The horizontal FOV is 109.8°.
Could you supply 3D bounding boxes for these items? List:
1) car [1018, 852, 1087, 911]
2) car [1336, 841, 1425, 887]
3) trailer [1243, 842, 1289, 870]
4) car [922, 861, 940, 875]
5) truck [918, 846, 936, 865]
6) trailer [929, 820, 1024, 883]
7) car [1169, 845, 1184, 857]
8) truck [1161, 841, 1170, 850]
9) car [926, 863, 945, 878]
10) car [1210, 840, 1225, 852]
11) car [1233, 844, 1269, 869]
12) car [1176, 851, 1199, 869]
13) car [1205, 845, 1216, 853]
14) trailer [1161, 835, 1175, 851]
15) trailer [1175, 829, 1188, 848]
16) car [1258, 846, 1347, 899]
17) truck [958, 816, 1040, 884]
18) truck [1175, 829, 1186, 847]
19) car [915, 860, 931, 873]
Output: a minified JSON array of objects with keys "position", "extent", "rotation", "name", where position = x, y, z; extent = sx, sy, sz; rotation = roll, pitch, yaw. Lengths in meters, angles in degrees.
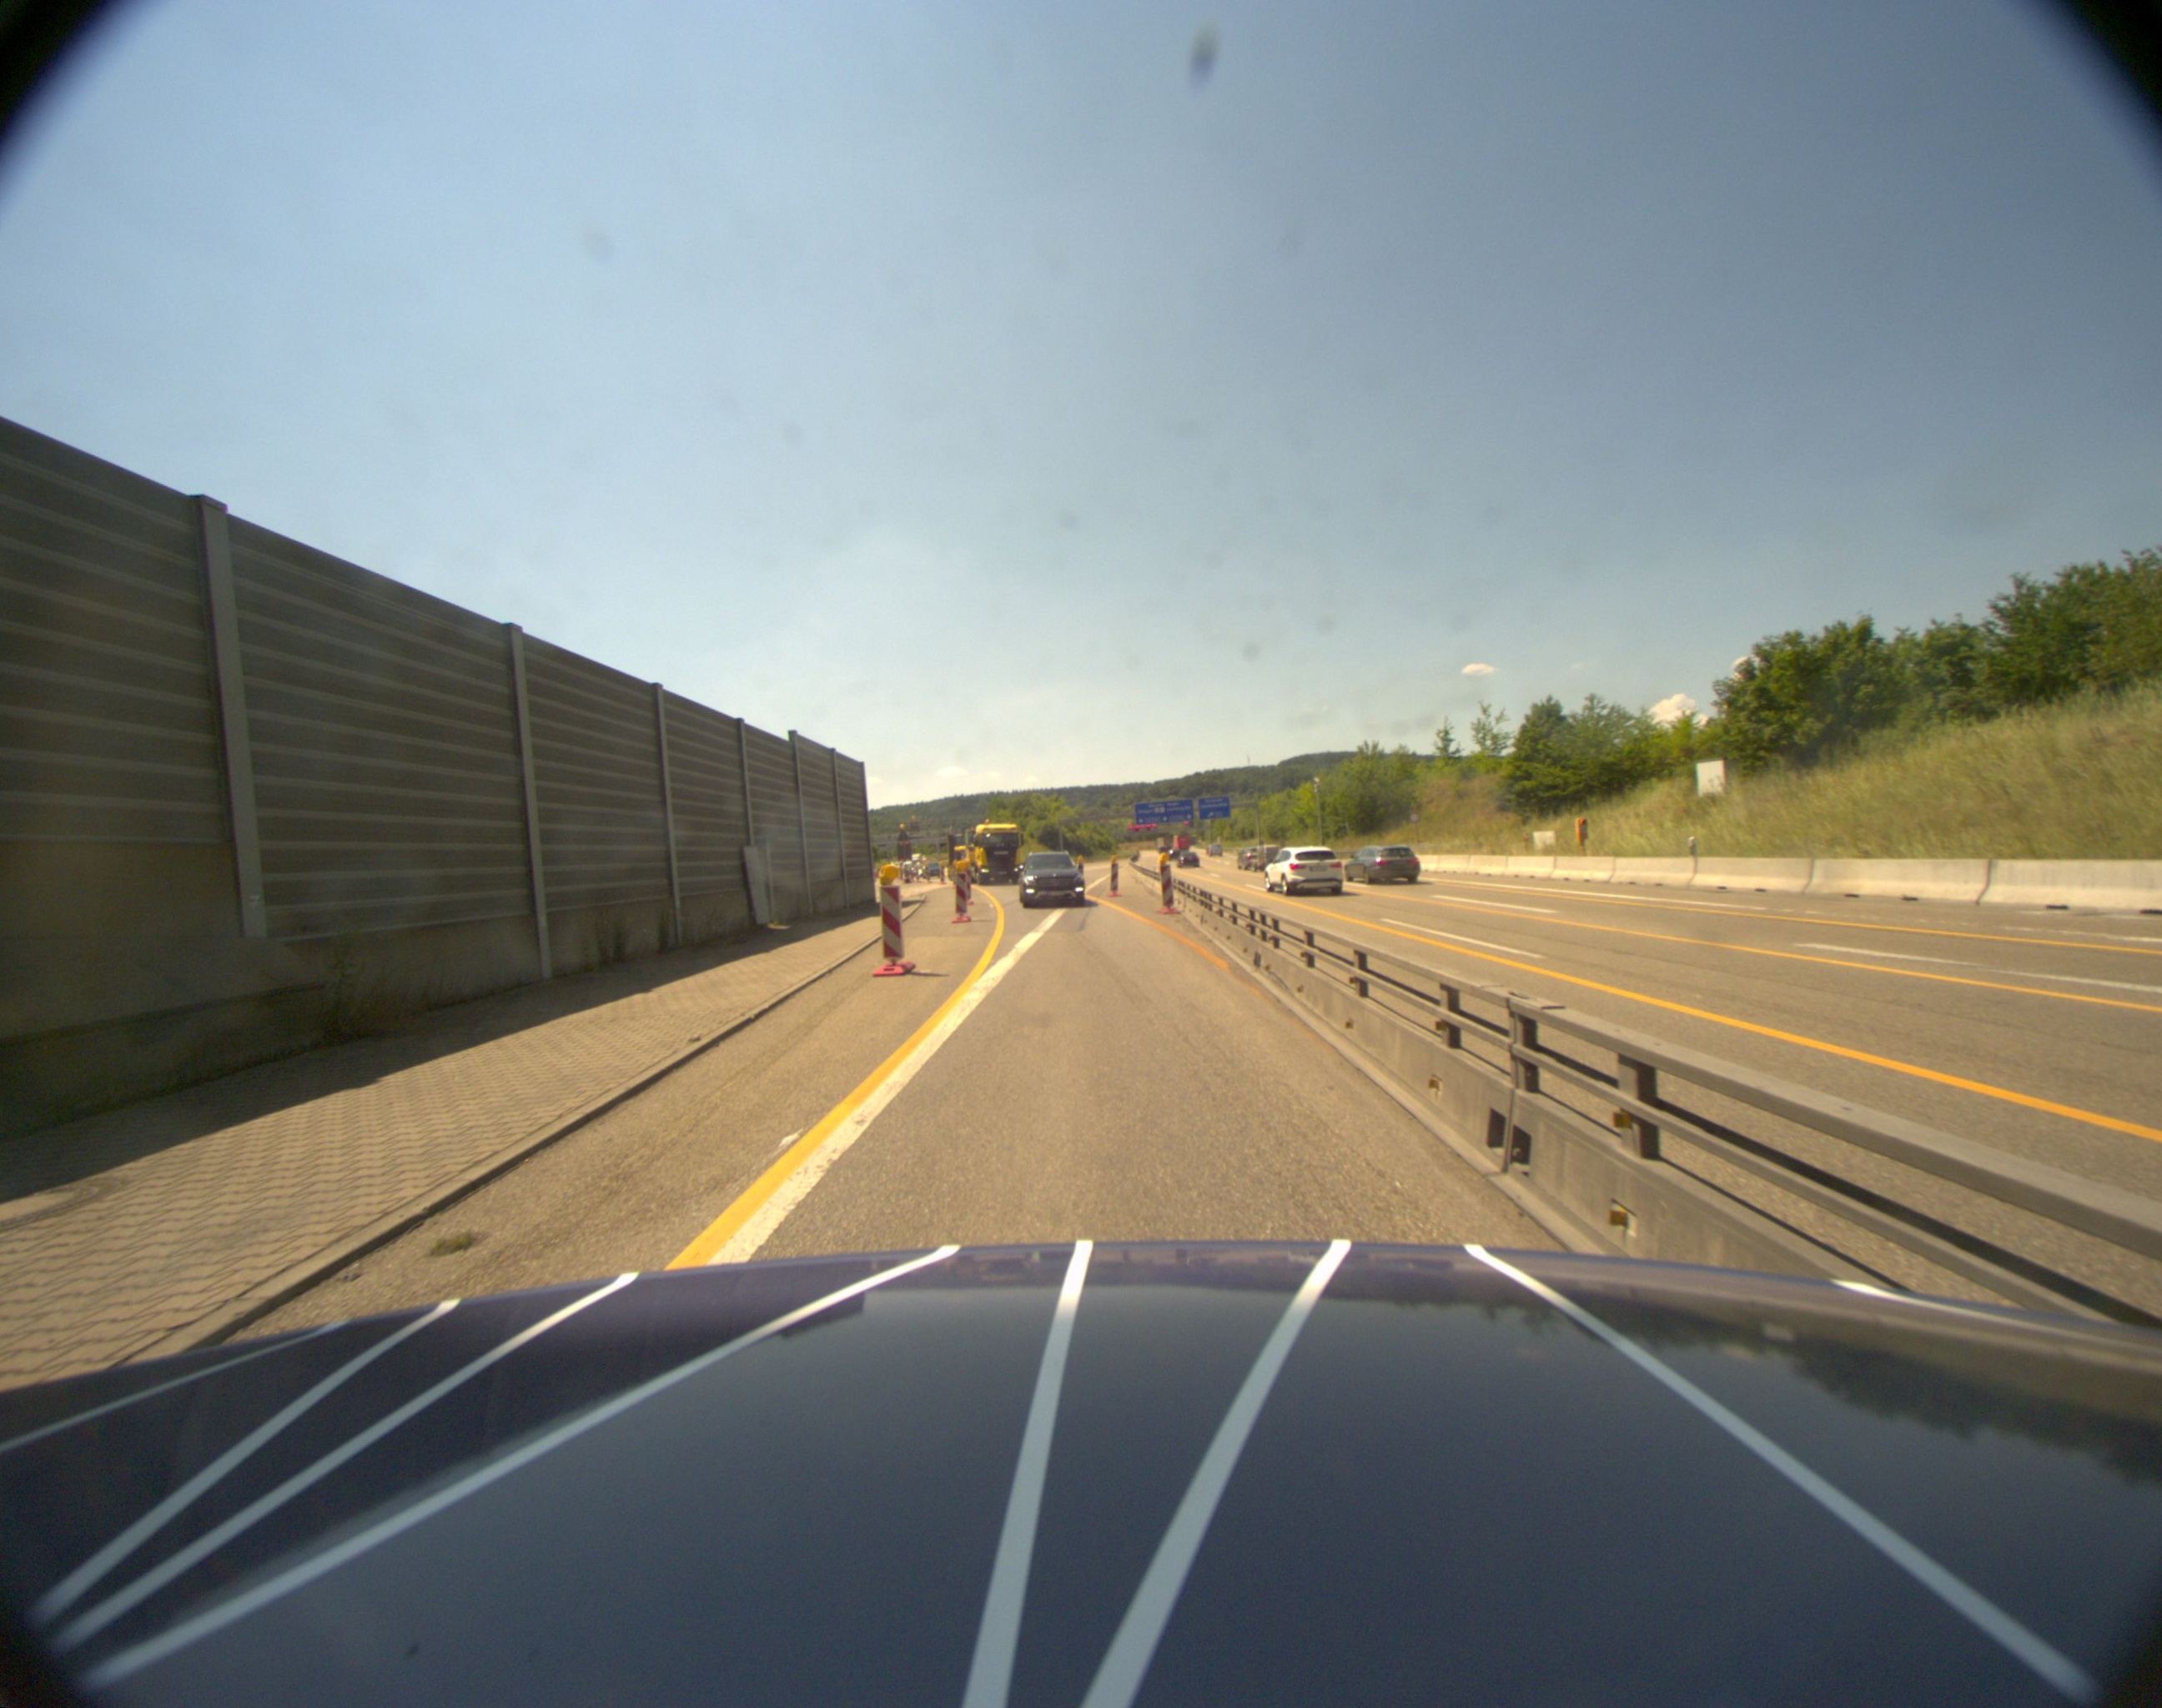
[{"position":[-1.027,0.811,24.975],"extent":[1.820,1.685,4.490],"rotation":[-3,0,-7],"name":"car"},{"position":[11.750,0.372,30.182],"extent":[1.778,1.656,4.808],"rotation":[-2,0,3],"name":"car"},{"position":[12.444,0.129,51.527],"extent":[1.951,1.794,5.523],"rotation":[-2,0,3],"name":"trailer"},{"position":[-16.423,1.535,83.094],"extent":[1.477,1.439,4.354],"rotation":[-2,0,-18],"name":"car"},{"position":[-33.267,0.433,164.417],"extent":[3.239,3.646,17.406],"rotation":[-6,1,-11],"name":"truck"},{"position":[-8.144,0.052,55.775],"extent":[3.241,3.646,17.397],"rotation":[-6,1,-19],"name":"trailer"},{"position":[13.239,-0.383,105.456],"extent":[1.746,1.584,4.228],"rotation":[-2,0,4],"name":"car"},{"position":[20.195,-2.045,181.095],"extent":[1.998,1.862,4.763],"rotation":[-4,0,5],"name":"truck"},{"position":[-14.882,1.671,77.494],"extent":[1.477,1.439,4.354],"rotation":[-2,0,-16],"name":"car"},{"position":[21.430,-1.278,119.500],"extent":[1.691,1.824,4.787],"rotation":[-2,1,3],"name":"car"},{"position":[12.647,0.170,56.722],"extent":[1.778,1.717,4.868],"rotation":[-2,0,3],"name":"car"},{"position":[9.985,0.539,71.470],"extent":[1.777,1.584,4.987],"rotation":[-2,0,4],"name":"car"},{"position":[23.462,-0.894,138.040],"extent":[1.691,1.387,4.001],"rotation":[-2,1,6],"name":"car"},{"position":[24.892,-3.190,219.014],"extent":[2.441,4.272,13.808],"rotation":[-4,1,1],"name":"trailer"},{"position":[23.186,-3.575,175.528],"extent":[2.343,4.079,13.264],"rotation":[-4,1,5],"name":"trailer"},{"position":[7.376,0.580,25.794],"extent":[1.778,1.568,4.447],"rotation":[-2,0,1],"name":"car"},{"position":[-5.290,-0.183,47.528],"extent":[3.234,3.640,7.073],"rotation":[-7,1,-19],"name":"truck"},{"position":[23.799,-3.724,182.037],"extent":[2.339,4.084,5.018],"rotation":[-4,1,5],"name":"truck"},{"position":[-18.960,1.499,91.230],"extent":[1.477,1.439,4.354],"rotation":[-2,0,-17],"name":"car"}]
